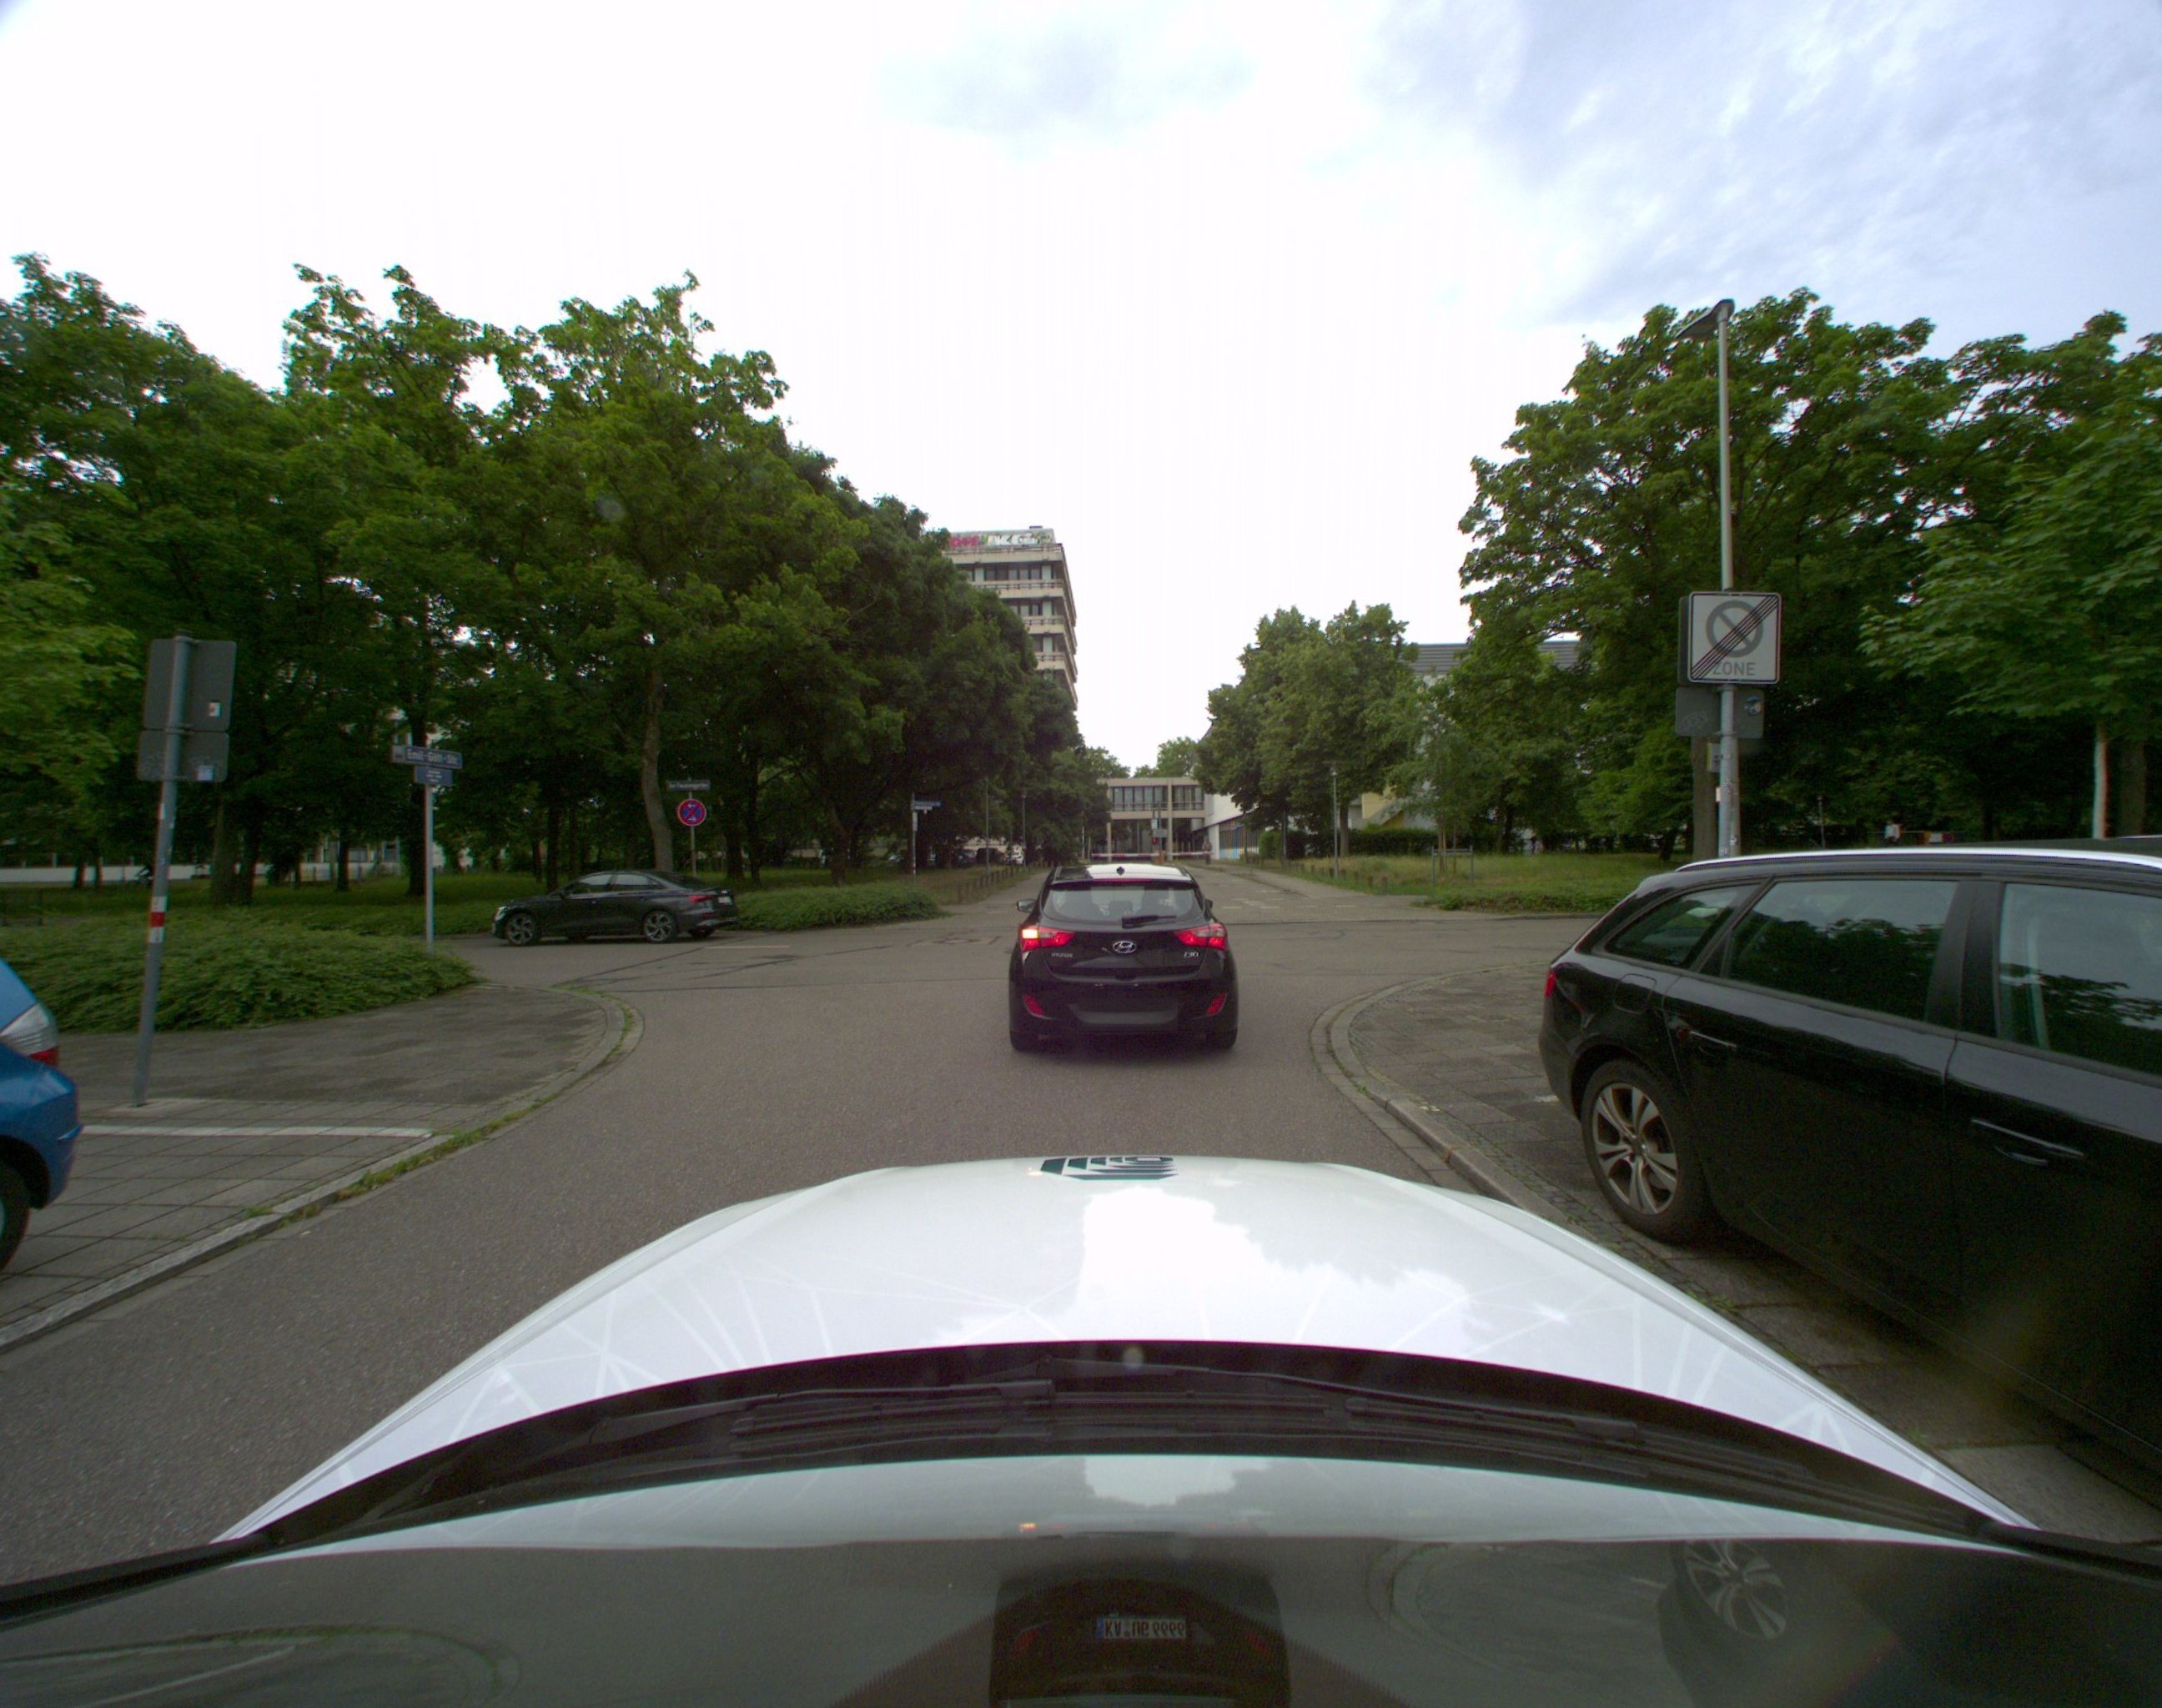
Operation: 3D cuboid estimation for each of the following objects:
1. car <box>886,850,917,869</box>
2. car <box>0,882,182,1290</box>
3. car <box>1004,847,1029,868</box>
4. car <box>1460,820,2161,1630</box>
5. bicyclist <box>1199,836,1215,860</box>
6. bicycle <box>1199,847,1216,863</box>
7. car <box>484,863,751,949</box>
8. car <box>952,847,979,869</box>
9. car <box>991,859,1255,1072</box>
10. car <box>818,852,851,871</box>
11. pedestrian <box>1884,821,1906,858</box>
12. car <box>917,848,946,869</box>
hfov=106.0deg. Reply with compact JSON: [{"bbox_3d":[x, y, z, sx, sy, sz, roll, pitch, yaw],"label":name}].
[{"bbox_3d":[-16.206,0.478,73.633,1.989,1.618,3.996,-1,0,-2],"label":"car"},{"bbox_3d":[-4.852,0.863,1.590,1.724,1.462,3.957,1,0,1],"label":"car"},{"bbox_3d":[-5.813,0.321,73.764,1.989,1.762,3.996,-1,-1,-2],"label":"car"},{"bbox_3d":[2.870,0.650,1.745,1.855,1.462,4.724,-2,0,0],"label":"car"},{"bbox_3d":[8.654,-0.405,55.934,1.013,1.644,0.924,-1,0,2],"label":"bicyclist"},{"bbox_3d":[8.686,0.057,56.021,0.863,1.074,2.143,-1,1,3],"label":"bicycle"},{"bbox_3d":[-8.903,0.969,15.926,4.091,1.462,1.870,-1,0,-1],"label":"car"},{"bbox_3d":[-10.393,0.389,73.786,1.989,1.794,3.996,-1,-2,-2],"label":"car"},{"bbox_3d":[0.281,0.792,7.643,1.840,1.462,3.826,-1,0,-1],"label":"car"},{"bbox_3d":[-22.364,0.672,74.110,1.913,1.618,3.996,-1,0,-2],"label":"car"},{"bbox_3d":[40.358,-0.716,40.394,0.567,1.798,0.545,-1,1,11],"label":"pedestrian"},{"bbox_3d":[-13.497,0.434,73.515,1.989,1.728,3.996,-1,-2,-2],"label":"car"}]
